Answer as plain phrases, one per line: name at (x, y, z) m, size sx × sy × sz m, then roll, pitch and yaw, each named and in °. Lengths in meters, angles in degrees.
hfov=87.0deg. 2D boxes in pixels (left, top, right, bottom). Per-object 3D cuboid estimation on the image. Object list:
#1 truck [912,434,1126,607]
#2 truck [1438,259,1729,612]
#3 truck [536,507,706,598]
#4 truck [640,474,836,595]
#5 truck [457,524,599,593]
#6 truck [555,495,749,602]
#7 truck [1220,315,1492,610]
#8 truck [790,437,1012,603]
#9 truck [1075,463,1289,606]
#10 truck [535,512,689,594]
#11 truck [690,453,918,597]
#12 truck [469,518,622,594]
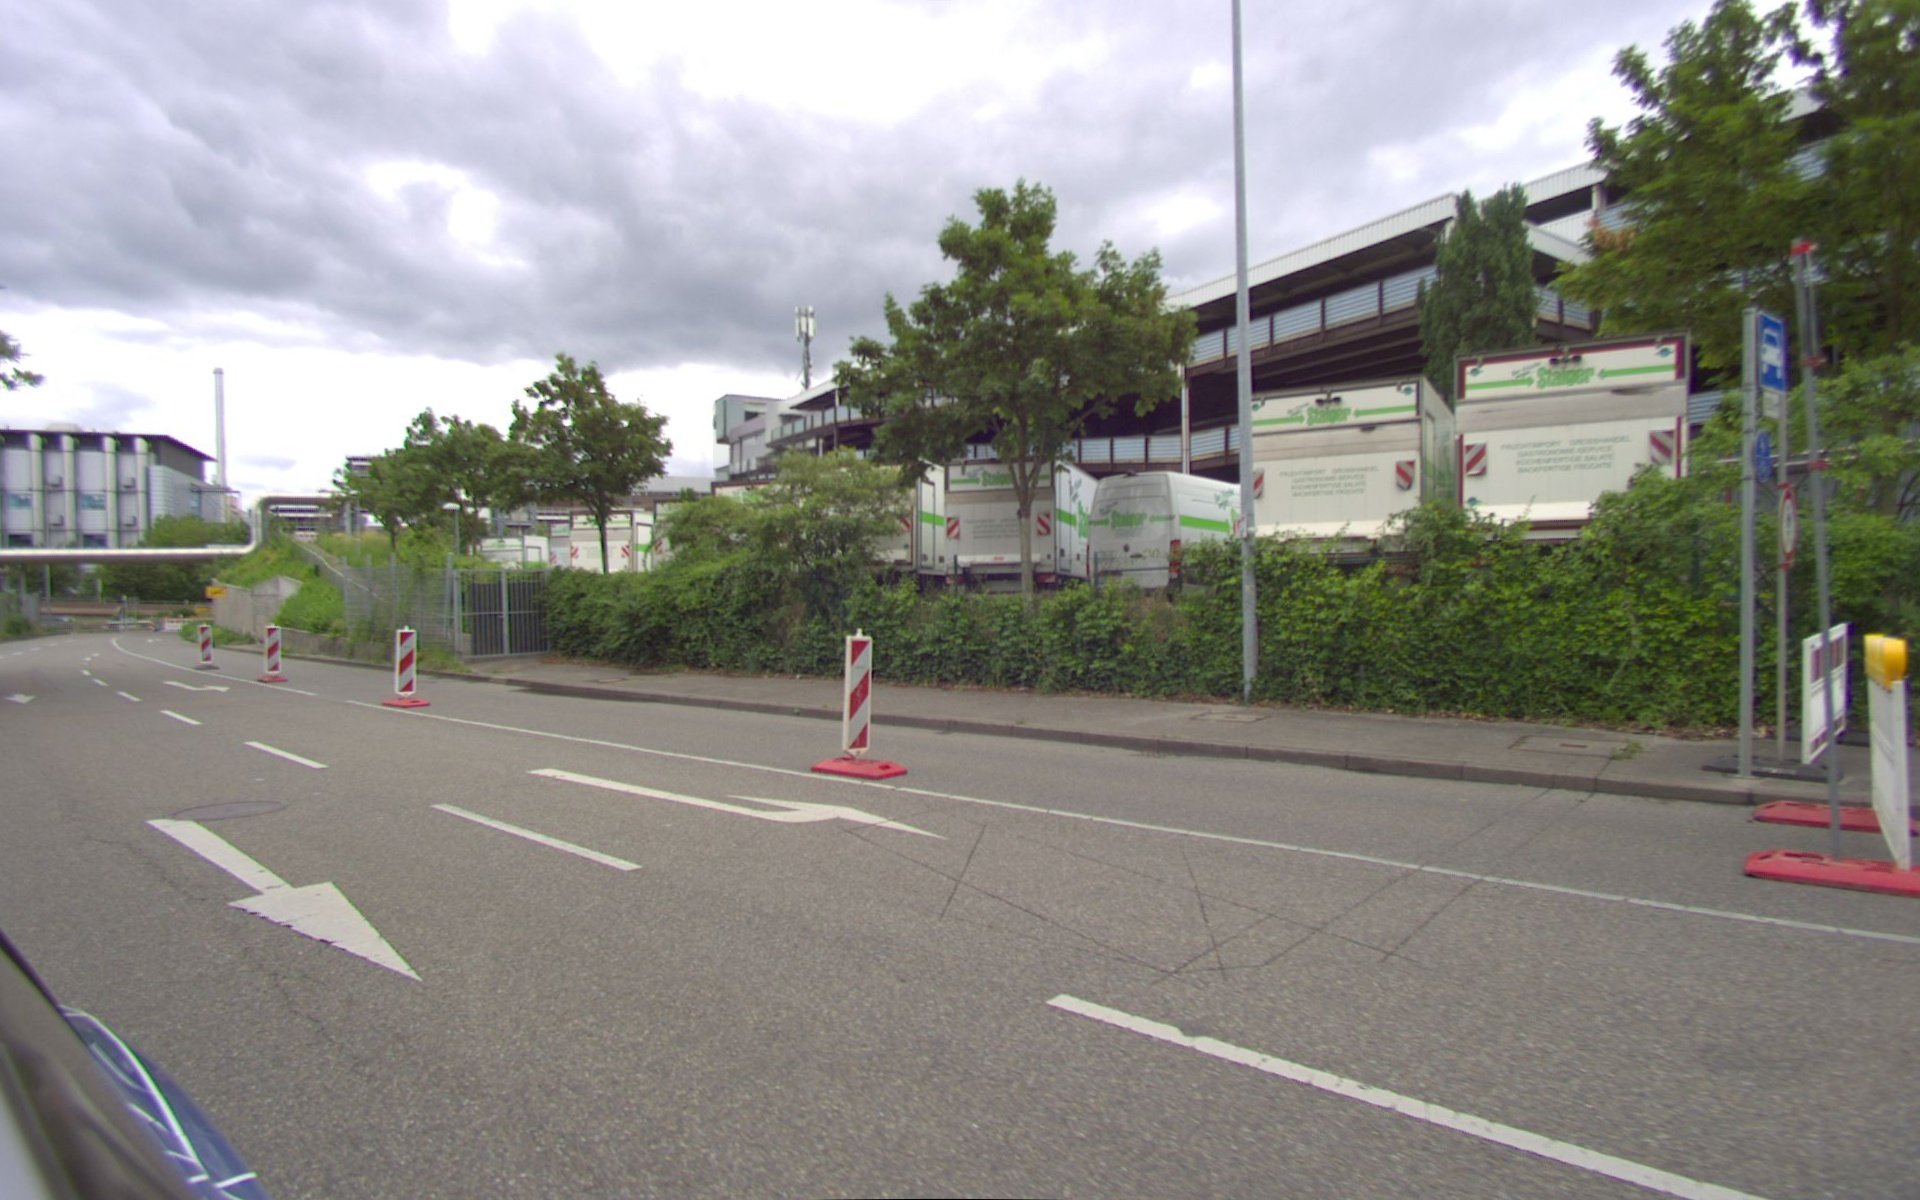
truck at (1.696, -1.612, 23.410) m, size 3.028 × 3.274 × 7.819 m, roll 0°, pitch 1°, yaw 18°
truck at (10.219, -1.989, 16.372) m, size 3.045 × 4.020 × 9.540 m, roll 0°, pitch 1°, yaw 34°
truck at (-14.298, -1.946, 43.553) m, size 3.026 × 3.564 × 7.824 m, roll 0°, pitch 1°, yaw 17°
truck at (-7.124, -2.031, 33.970) m, size 3.026 × 3.564 × 7.824 m, roll 0°, pitch 1°, yaw 17°
truck at (-23.971, -2.249, 56.648) m, size 3.026 × 3.564 × 7.824 m, roll 0°, pitch 1°, yaw 17°
truck at (-11.273, -1.829, 38.139) m, size 3.026 × 3.564 × 8.111 m, roll 0°, pitch 1°, yaw 17°
truck at (7.342, -1.965, 17.921) m, size 3.043 × 4.020 × 7.779 m, roll 0°, pitch 1°, yaw 33°
truck at (-1.167, -1.824, 25.966) m, size 3.028 × 3.564 × 7.819 m, roll 0°, pitch 1°, yaw 18°
truck at (4.427, -1.174, 19.655) m, size 2.194 × 2.423 × 4.642 m, roll 0°, pitch 1°, yaw 40°
truck at (-16.457, -2.152, 48.578) m, size 3.026 × 3.564 × 7.824 m, roll 0°, pitch 1°, yaw 17°
truck at (-4.183, -1.962, 29.411) m, size 3.031 × 3.564 × 7.810 m, roll 0°, pitch 1°, yaw 22°
truck at (-20.898, -2.173, 51.664) m, size 3.026 × 3.564 × 7.824 m, roll 0°, pitch 1°, yaw 17°
